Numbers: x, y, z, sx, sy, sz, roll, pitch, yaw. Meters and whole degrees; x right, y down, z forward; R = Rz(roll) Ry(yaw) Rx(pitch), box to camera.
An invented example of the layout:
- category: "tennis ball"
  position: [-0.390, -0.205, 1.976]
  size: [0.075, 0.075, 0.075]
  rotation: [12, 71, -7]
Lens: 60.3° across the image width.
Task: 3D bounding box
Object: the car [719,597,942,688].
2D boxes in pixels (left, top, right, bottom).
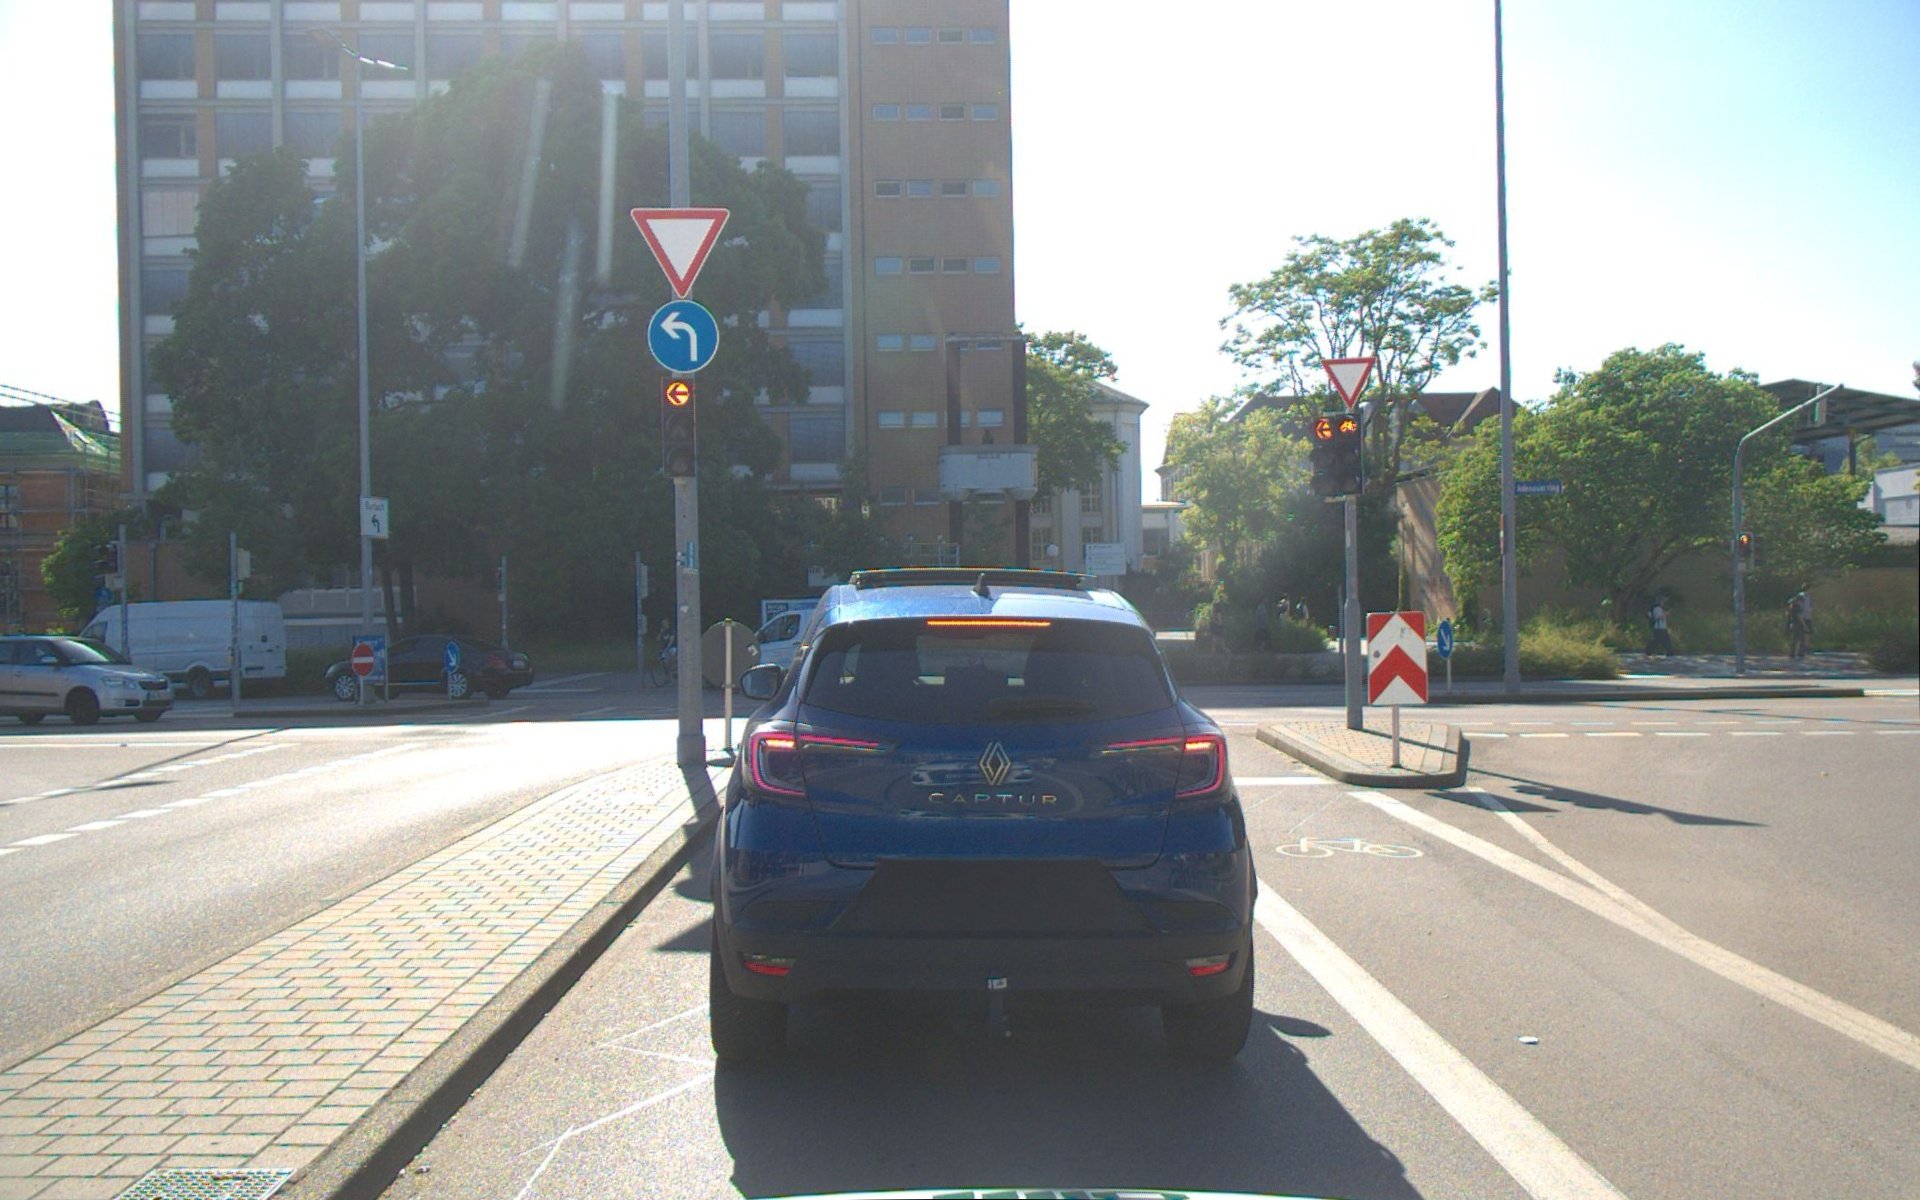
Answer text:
- category: "car"
  position: [-3.054, 0.991, 39.494]
  size: [4.892, 2.049, 2.074]
  rotation: [-1, 0, 11]

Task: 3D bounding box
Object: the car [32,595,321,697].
- category: "car"
  position: [-21.222, 1.234, 44.883]
  size: [6.788, 2.591, 3.015]
  rotation: [-1, 0, 16]

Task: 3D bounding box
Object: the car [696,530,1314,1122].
- category: "car"
  position: [0.079, 0.643, 6.666]
  size: [1.758, 1.684, 3.852]
  rotation: [1, 0, -2]

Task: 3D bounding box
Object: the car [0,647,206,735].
- category: "car"
  position: [-15.170, 1.530, 28.222]
  size: [3.762, 1.428, 1.893]
  rotation: [0, -3, 10]

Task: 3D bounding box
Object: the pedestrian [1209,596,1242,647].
- category: "pedestrian"
  position: [10.856, 0.854, 67.649]
  size: [1.132, 2.049, 1.164]
  rotation: [-1, 0, -1]

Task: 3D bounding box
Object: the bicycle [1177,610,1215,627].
- category: "bicycle"
  position: [11.850, 0.916, 83.229]
  size: [1.739, 0.837, 0.763]
  rotation: [-1, 0, -11]

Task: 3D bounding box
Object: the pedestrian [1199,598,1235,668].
- category: "pedestrian"
  position: [6.995, 0.886, 45.023]
  size: [0.912, 1.888, 0.808]
  rotation: [-1, 0, 8]

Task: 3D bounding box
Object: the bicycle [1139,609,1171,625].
- category: "bicycle"
  position: [11.192, 0.966, 95.020]
  size: [1.735, 0.914, 0.765]
  rotation: [-1, 0, -1]

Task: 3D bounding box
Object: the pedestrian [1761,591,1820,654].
- category: "pedestrian"
  position: [20.886, 0.559, 41.605]
  size: [1.052, 1.547, 0.879]
  rotation: [-1, 0, 4]

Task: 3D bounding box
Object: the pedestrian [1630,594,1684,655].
- category: "pedestrian"
  position: [18.024, 0.619, 42.785]
  size: [1.062, 1.547, 0.931]
  rotation: [-1, 0, 9]

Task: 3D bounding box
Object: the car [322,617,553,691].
- category: "car"
  position: [-12.224, 1.256, 38.790]
  size: [4.739, 1.609, 2.103]
  rotation: [-1, 0, 14]

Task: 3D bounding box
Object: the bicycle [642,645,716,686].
- category: "bicycle"
  position: [-7.460, 1.730, 43.944]
  size: [1.851, 1.025, 0.690]
  rotation: [0, -4, -41]

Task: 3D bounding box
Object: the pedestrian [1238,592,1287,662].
- category: "pedestrian"
  position: [8.325, 0.741, 45.482]
  size: [1.269, 1.888, 0.967]
  rotation: [-1, 0, 11]

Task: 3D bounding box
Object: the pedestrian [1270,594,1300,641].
- category: "pedestrian"
  position: [12.526, 0.684, 63.813]
  size: [0.933, 1.772, 0.984]
  rotation: [-1, 0, -1]

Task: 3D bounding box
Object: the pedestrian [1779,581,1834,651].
- category: "pedestrian"
  position: [21.896, 0.415, 42.793]
  size: [0.943, 1.763, 0.926]
  rotation: [-1, 0, 5]

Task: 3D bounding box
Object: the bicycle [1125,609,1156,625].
- category: "bicycle"
  position: [10.846, 0.996, 99.379]
  size: [1.735, 0.908, 0.765]
  rotation: [-1, 0, -1]

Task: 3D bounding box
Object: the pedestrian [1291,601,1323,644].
- category: "pedestrian"
  position: [13.248, 0.852, 63.174]
  size: [0.917, 1.641, 1.175]
  rotation: [-1, 0, -1]

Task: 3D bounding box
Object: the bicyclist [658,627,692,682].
- category: "bicyclist"
  position: [-7.558, 1.452, 43.878]
  size: [0.633, 1.437, 0.639]
  rotation: [0, -3, -41]
